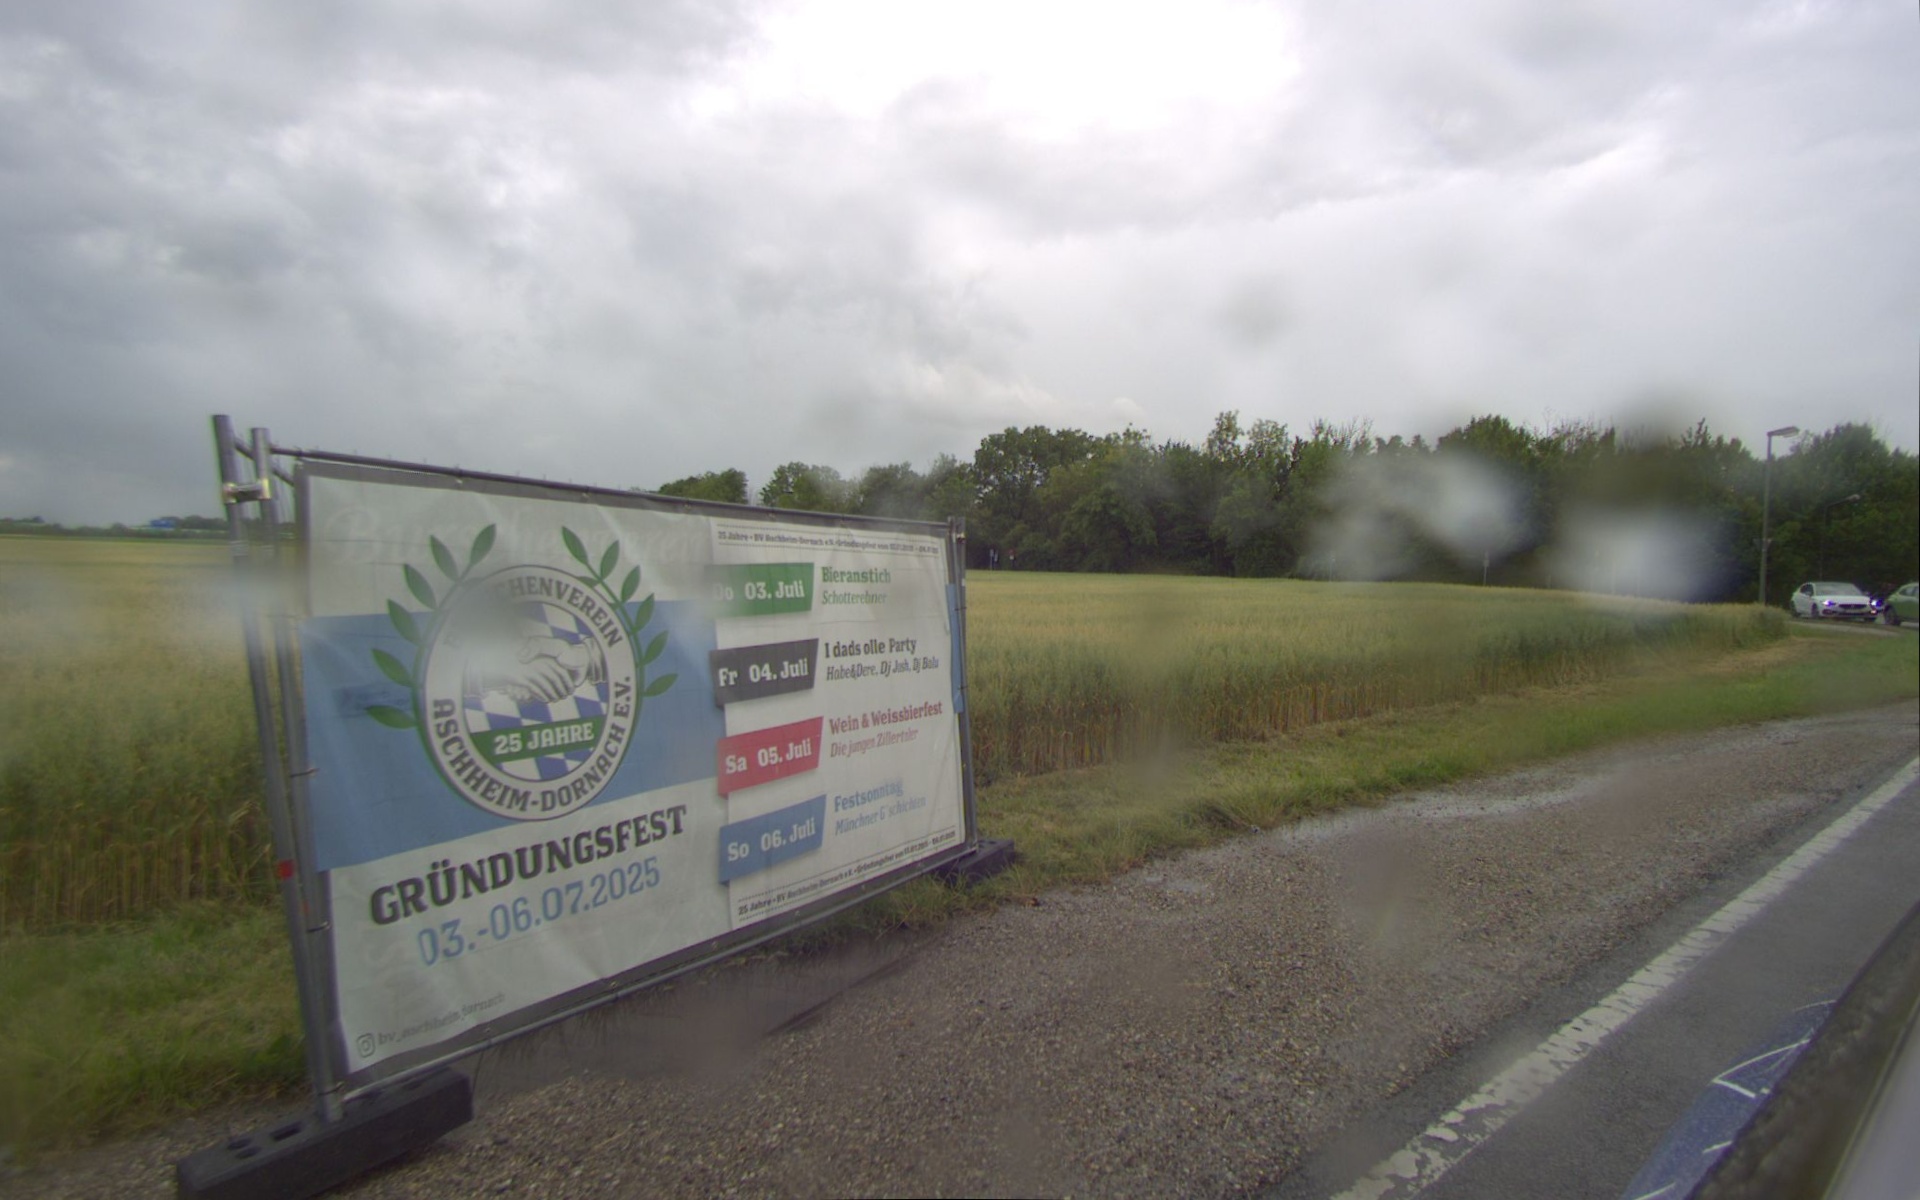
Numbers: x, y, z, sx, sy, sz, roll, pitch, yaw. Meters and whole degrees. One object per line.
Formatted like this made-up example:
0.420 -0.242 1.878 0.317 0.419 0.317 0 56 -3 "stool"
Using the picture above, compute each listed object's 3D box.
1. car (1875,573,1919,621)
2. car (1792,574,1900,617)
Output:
31.946 -0.076 32.424 1.868 1.550 5.226 1 1 18 "car"
33.861 -0.210 38.805 1.873 1.550 4.464 1 1 25 "car"
